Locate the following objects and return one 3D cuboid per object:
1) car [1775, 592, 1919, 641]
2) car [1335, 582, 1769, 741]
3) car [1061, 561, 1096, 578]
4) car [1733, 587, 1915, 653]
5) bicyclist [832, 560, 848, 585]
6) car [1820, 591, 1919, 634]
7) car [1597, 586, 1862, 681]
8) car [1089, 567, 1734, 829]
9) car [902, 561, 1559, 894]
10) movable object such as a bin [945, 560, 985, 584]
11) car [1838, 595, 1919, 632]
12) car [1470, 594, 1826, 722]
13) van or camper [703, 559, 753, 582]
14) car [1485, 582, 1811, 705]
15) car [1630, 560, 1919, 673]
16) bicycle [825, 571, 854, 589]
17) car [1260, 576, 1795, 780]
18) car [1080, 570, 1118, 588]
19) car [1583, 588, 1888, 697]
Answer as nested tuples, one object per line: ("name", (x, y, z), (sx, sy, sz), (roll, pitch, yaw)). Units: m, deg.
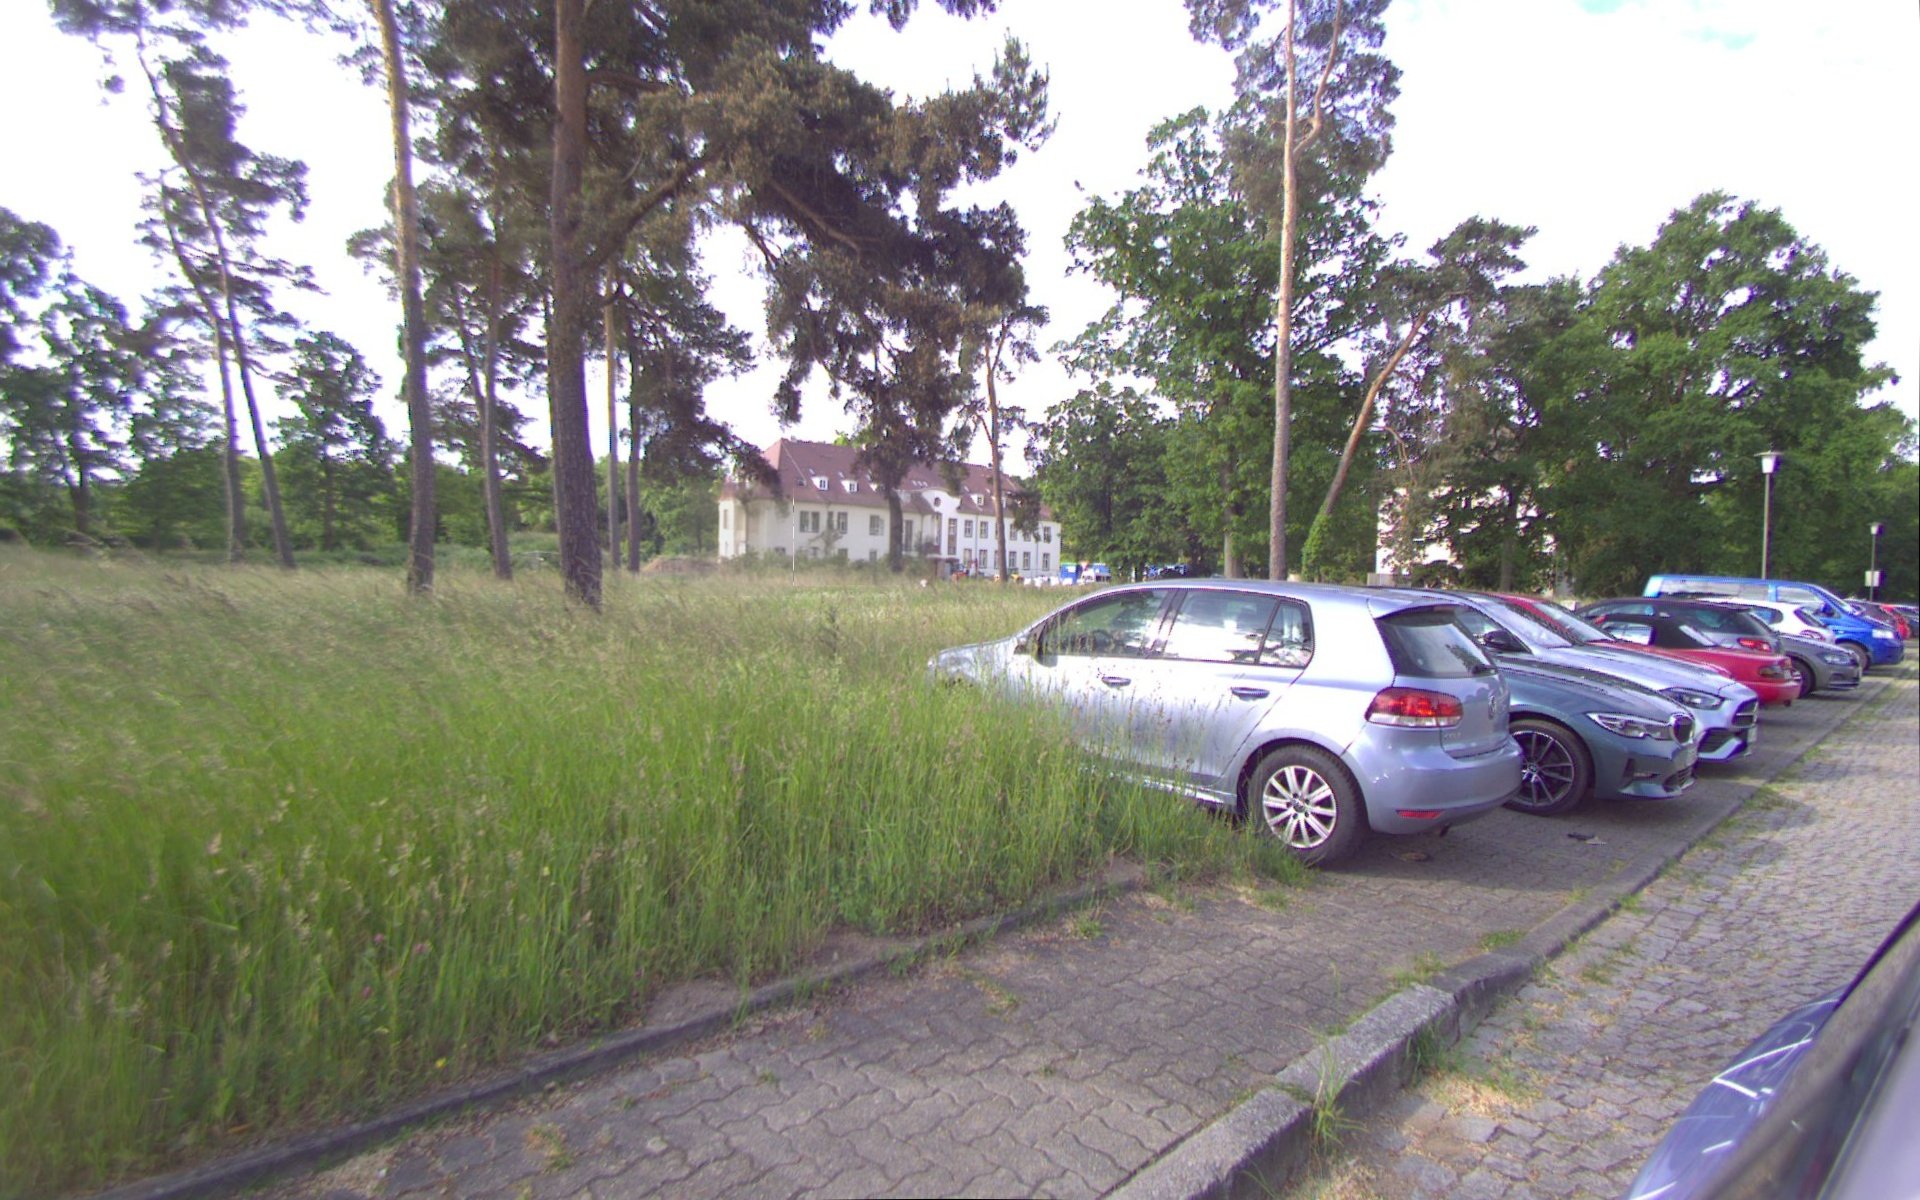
("car", (31.667, 0.548, 36.142), (3.828, 1.544, 1.556), (3, 2, 43))
("car", (6.812, 0.576, 12.002), (1.690, 1.440, 4.114), (0, 2, -42))
("car", (14.865, -3.807, 126.649), (3.927, 2.038, 2.219), (0, 2, -39))
("car", (24.510, 0.513, 28.814), (3.828, 1.621, 1.556), (3, 2, 43))
("bicyclist", (-8.317, -1.914, 70.198), (0.830, 1.756, 0.667), (0, 0, -40))
("car", (39.241, 0.529, 43.009), (1.552, 1.638, 3.838), (1, 2, -38))
("car", (14.559, 0.561, 19.306), (1.554, 1.517, 3.759), (0, 2, -41))
("car", (3.428, 0.542, 8.356), (4.515, 1.501, 1.779), (3, 2, 44))
("car", (1.517, 0.539, 6.619), (3.844, 1.489, 1.615), (3, 2, 45))
("movable object such as a bin", (0.669, -3.413, 125.365), (1.992, 2.802, 5.126), (3, 2, 41))
("car", (42.721, 0.606, 46.102), (1.643, 1.548, 3.838), (0, 2, -38))
("car", (8.840, 0.660, 13.207), (1.580, 1.302, 3.552), (2, 1, -42))
("van or camper", (-24.565, -3.110, 106.996), (6.057, 2.250, 1.971), (3, 2, 40))
("car", (10.315, 0.551, 15.384), (1.578, 1.522, 3.833), (0, 2, -43))
("car", (18.402, 0.264, 22.906), (2.025, 2.047, 4.951), (0, 4, -42))
("bicycle", (-8.359, -1.401, 70.172), (1.946, 1.223, 0.638), (0, 2, -41))
("car", (5.422, 0.577, 10.121), (1.738, 1.446, 4.330), (0, 3, -44))
("car", (14.886, -2.219, 108.042), (3.867, 1.704, 1.847), (0, 4, -41))
("car", (12.794, 0.607, 16.869), (1.614, 1.483, 3.779), (0, 2, -41))
